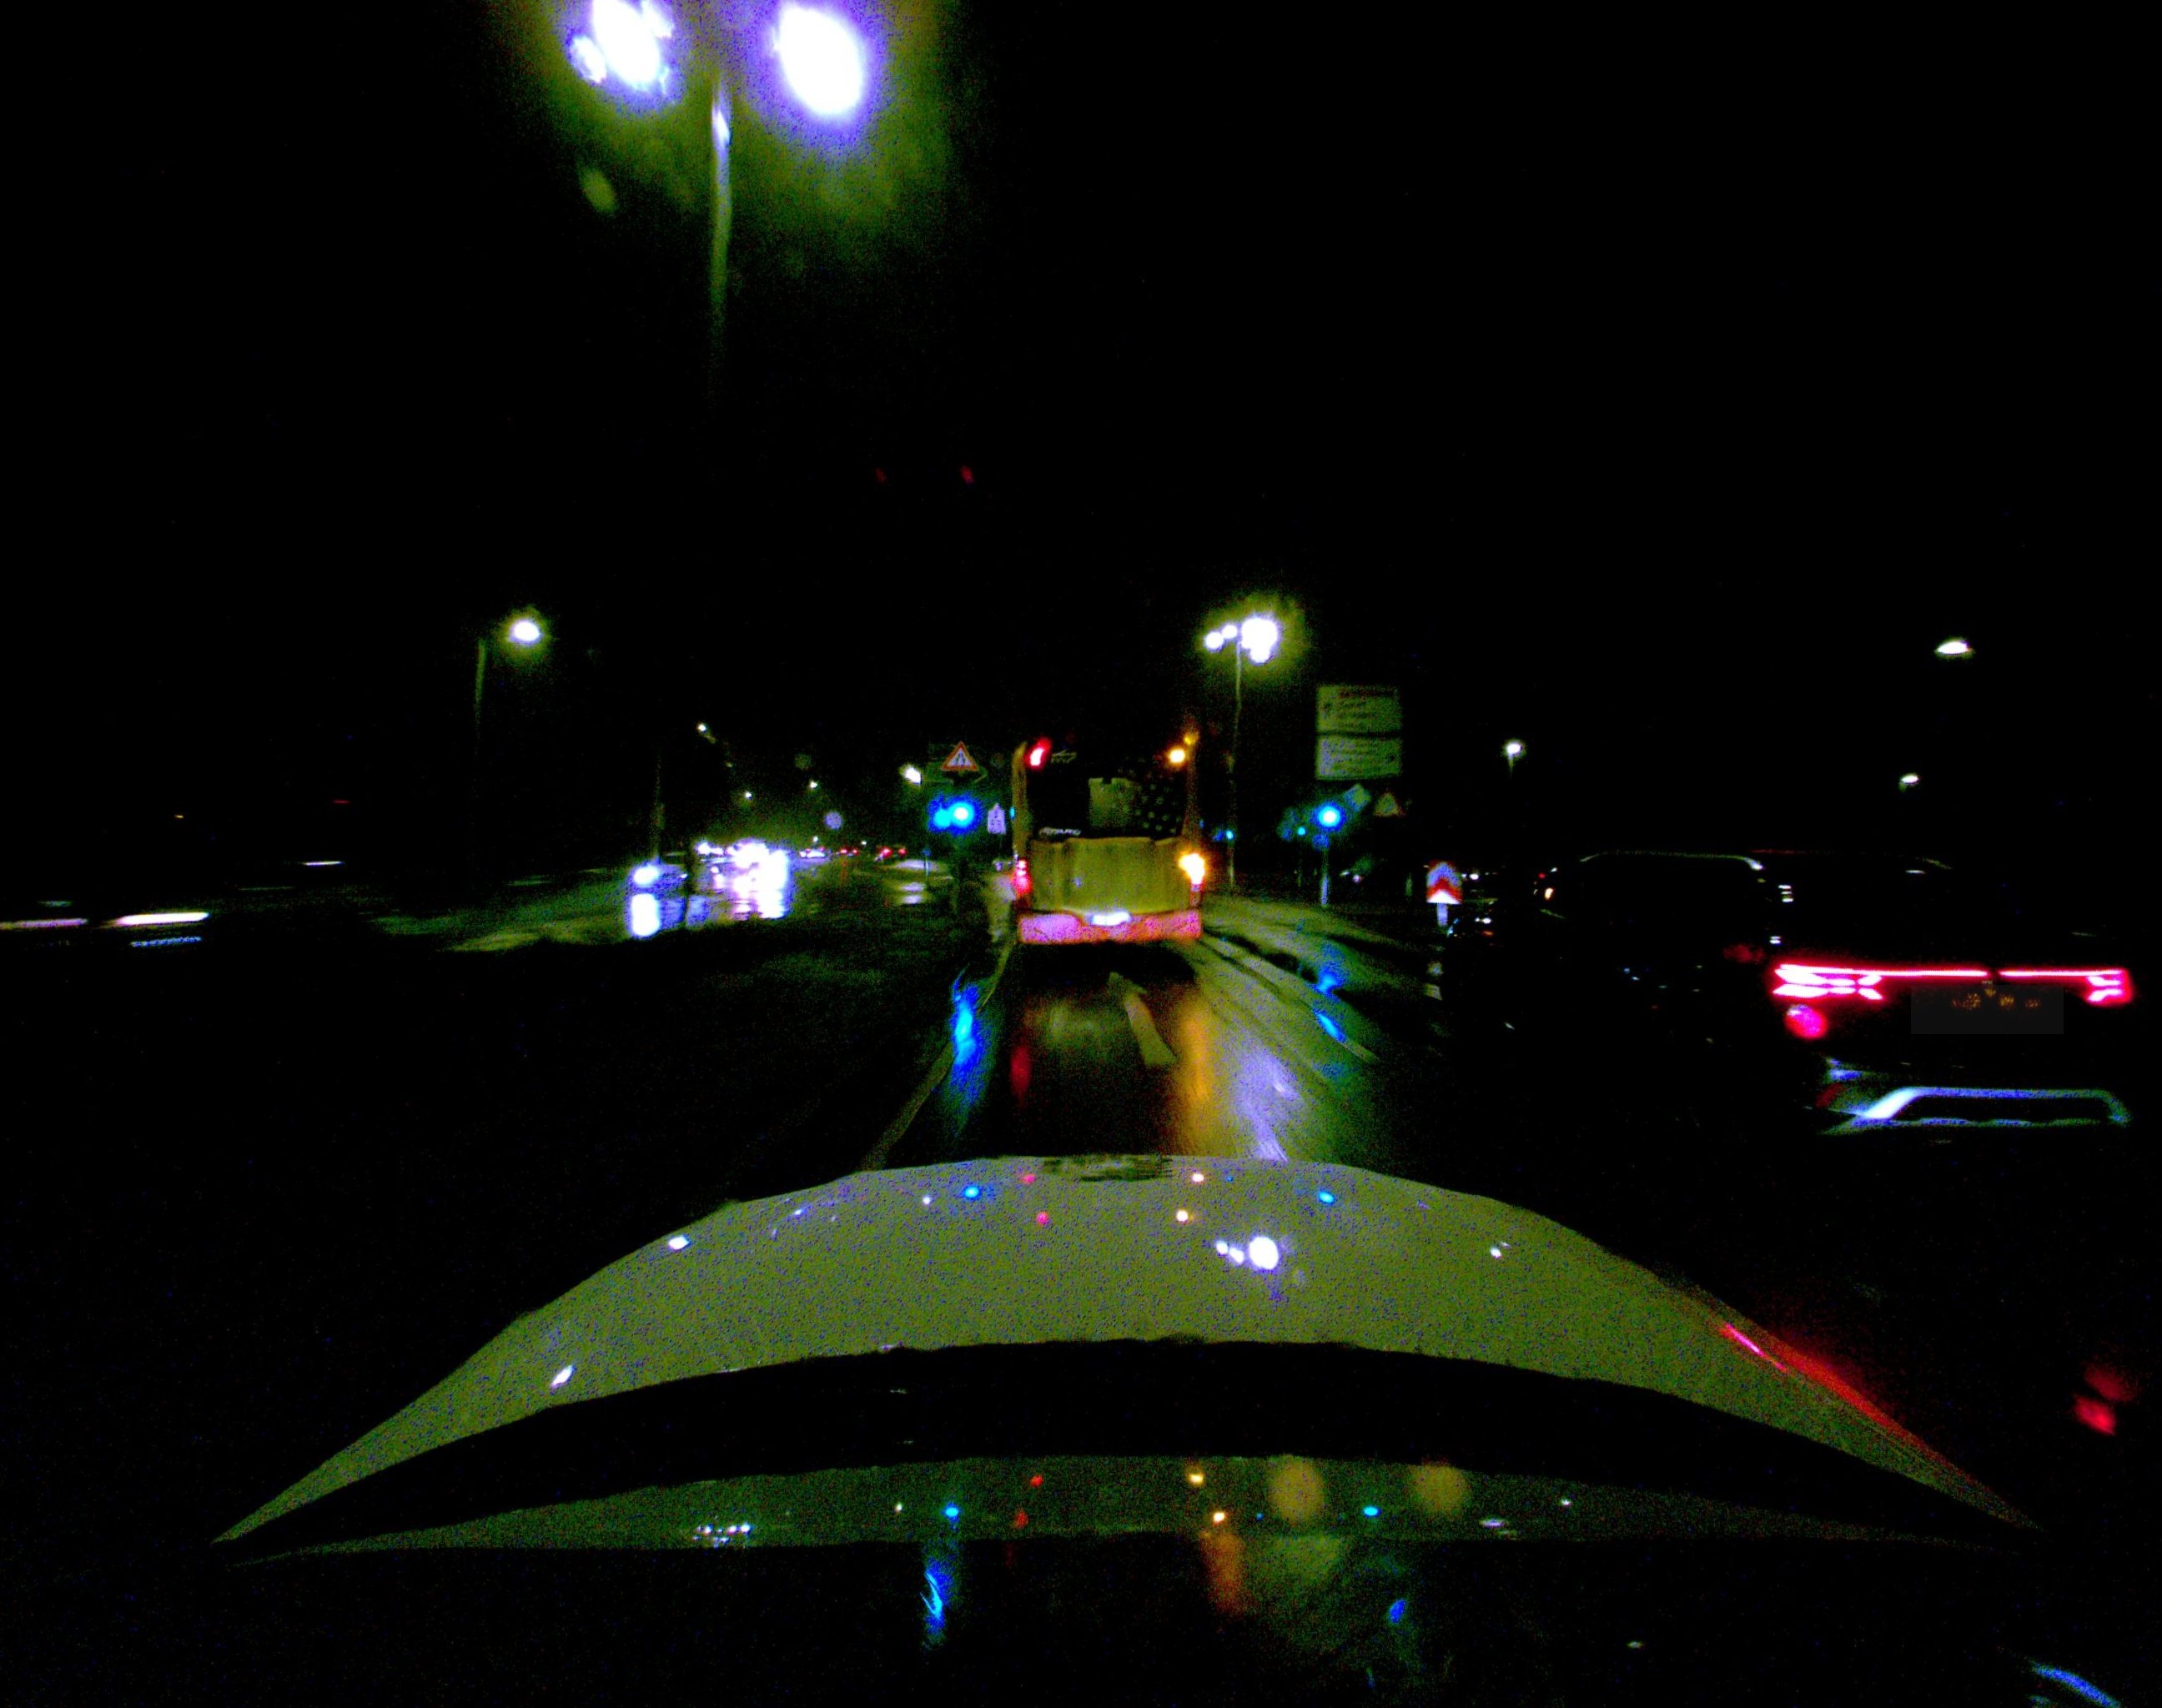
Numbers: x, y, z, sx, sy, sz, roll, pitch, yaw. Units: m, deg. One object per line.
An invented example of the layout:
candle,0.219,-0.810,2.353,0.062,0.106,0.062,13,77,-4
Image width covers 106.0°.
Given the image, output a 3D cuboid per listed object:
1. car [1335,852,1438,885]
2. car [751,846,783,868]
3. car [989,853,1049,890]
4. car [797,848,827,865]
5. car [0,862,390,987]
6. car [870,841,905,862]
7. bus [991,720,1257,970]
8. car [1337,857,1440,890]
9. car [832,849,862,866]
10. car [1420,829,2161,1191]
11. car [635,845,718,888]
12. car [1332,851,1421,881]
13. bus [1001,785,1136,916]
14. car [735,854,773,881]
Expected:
car,15.374,0.724,41.092,4.471,1.519,1.856,1,1,-2
car,-22.482,0.223,58.433,1.784,1.460,4.451,2,-1,-17
car,-3.609,0.980,46.863,2.003,2.014,4.312,2,-1,-25
car,-28.811,0.233,87.147,2.103,1.644,3.692,5,-2,-33
car,-12.832,0.908,12.216,1.731,1.496,3.934,-2,-1,-4
car,-15.570,-0.166,65.345,1.825,1.618,3.965,2,-1,-26
bus,0.244,-0.085,15.062,3.279,3.050,9.529,-2,-1,-4
car,13.980,0.865,37.155,4.032,1.345,1.746,1,1,-2
car,-22.749,0.349,79.035,1.828,1.618,3.960,2,-1,-32
car,3.946,0.703,5.469,1.672,1.521,3.959,1,-1,-1
car,-15.268,0.441,31.015,1.792,1.456,4.557,-2,1,-13
car,16.002,0.632,44.217,4.153,1.519,1.856,1,1,-2
bus,-0.573,-0.153,24.387,3.241,3.120,8.634,2,1,-4
car,-18.831,0.788,47.029,1.795,1.457,4.547,-2,-1,-20
